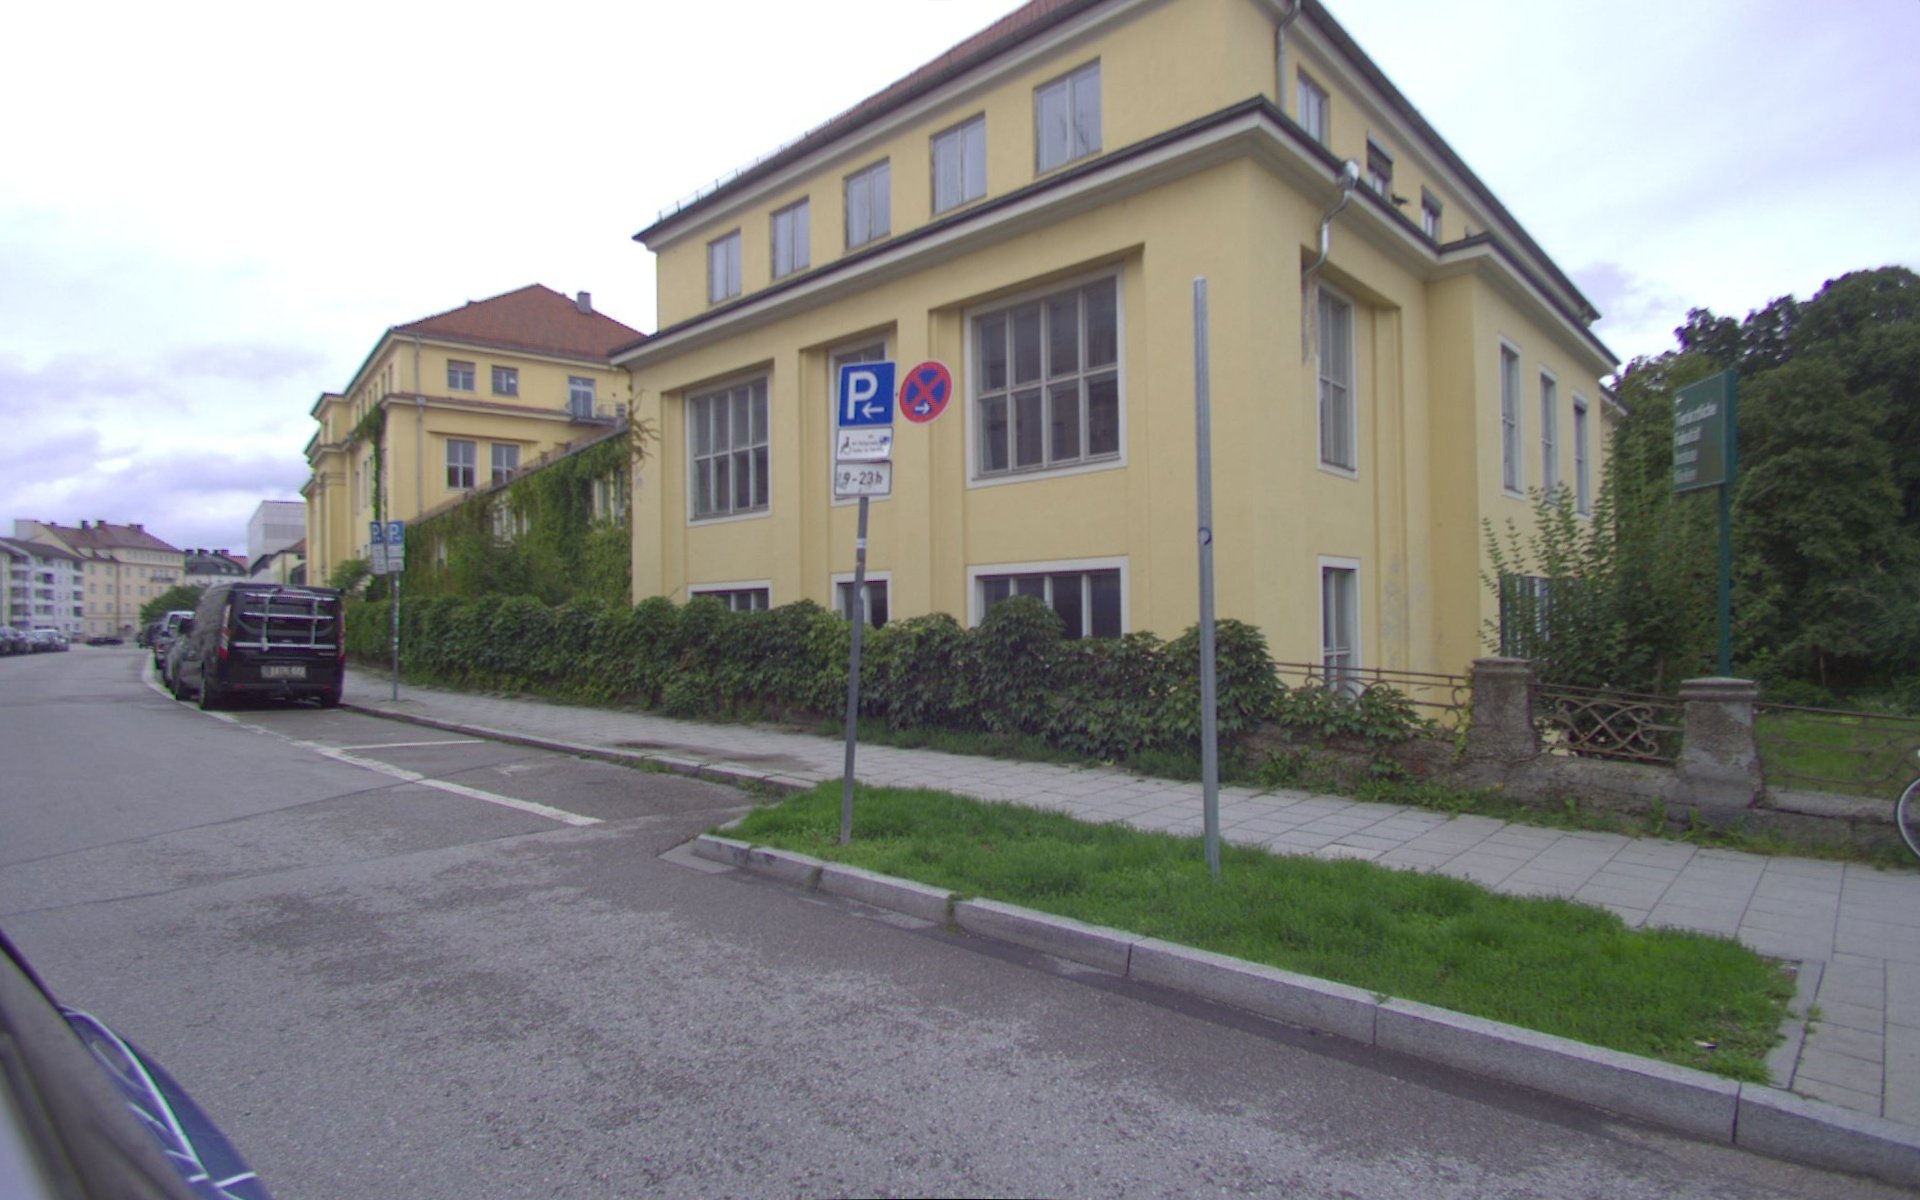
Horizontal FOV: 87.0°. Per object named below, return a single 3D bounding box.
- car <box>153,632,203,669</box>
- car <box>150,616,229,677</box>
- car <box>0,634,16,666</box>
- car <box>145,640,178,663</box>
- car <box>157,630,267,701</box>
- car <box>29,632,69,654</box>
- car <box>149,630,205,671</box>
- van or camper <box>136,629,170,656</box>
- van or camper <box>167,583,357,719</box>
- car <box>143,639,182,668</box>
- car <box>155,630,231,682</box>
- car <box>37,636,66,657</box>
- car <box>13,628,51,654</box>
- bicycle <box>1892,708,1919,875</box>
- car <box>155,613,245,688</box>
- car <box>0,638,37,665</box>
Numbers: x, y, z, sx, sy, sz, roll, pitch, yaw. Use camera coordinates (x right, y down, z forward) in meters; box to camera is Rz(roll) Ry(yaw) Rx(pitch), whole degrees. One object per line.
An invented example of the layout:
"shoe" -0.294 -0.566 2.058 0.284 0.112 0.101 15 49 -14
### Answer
"car" -32.716 2.069 42.302 1.558 1.466 3.911 1 -2 -39
"car" -25.985 1.554 34.144 1.968 1.890 4.768 2 -3 -38
"car" -48.624 2.500 50.605 1.832 1.556 4.163 1 -2 -40
"car" -53.906 3.456 68.338 1.658 1.507 3.993 3 -4 -39
"car" -16.145 1.342 21.759 1.599 1.388 4.078 1 -3 -41
"car" -63.713 2.990 70.846 1.670 1.462 4.092 0 -2 -37
"car" -29.941 1.892 38.656 1.558 1.504 3.736 1 -2 -39
"van or camper" -88.360 4.664 110.811 5.574 2.829 2.111 -3 -4 44
"van or camper" -12.414 0.880 17.871 1.938 2.081 4.756 2 -3 -45
"car" -49.321 3.280 62.562 1.659 1.646 4.363 0 -2 -41
"car" -22.965 1.629 30.240 1.679 1.433 4.433 2 -3 -38
"car" -74.638 3.821 83.132 1.583 1.655 3.637 2 -3 -40
"car" -60.184 2.633 65.674 1.671 1.595 4.089 1 -2 -41
"bicycle" 6.003 1.087 5.545 1.195 0.930 0.468 -1 -2 19
"car" -19.474 1.266 25.867 1.599 1.743 4.432 2 -3 -40
"car" -56.769 3.081 60.693 1.832 1.556 4.163 1 -2 -40
